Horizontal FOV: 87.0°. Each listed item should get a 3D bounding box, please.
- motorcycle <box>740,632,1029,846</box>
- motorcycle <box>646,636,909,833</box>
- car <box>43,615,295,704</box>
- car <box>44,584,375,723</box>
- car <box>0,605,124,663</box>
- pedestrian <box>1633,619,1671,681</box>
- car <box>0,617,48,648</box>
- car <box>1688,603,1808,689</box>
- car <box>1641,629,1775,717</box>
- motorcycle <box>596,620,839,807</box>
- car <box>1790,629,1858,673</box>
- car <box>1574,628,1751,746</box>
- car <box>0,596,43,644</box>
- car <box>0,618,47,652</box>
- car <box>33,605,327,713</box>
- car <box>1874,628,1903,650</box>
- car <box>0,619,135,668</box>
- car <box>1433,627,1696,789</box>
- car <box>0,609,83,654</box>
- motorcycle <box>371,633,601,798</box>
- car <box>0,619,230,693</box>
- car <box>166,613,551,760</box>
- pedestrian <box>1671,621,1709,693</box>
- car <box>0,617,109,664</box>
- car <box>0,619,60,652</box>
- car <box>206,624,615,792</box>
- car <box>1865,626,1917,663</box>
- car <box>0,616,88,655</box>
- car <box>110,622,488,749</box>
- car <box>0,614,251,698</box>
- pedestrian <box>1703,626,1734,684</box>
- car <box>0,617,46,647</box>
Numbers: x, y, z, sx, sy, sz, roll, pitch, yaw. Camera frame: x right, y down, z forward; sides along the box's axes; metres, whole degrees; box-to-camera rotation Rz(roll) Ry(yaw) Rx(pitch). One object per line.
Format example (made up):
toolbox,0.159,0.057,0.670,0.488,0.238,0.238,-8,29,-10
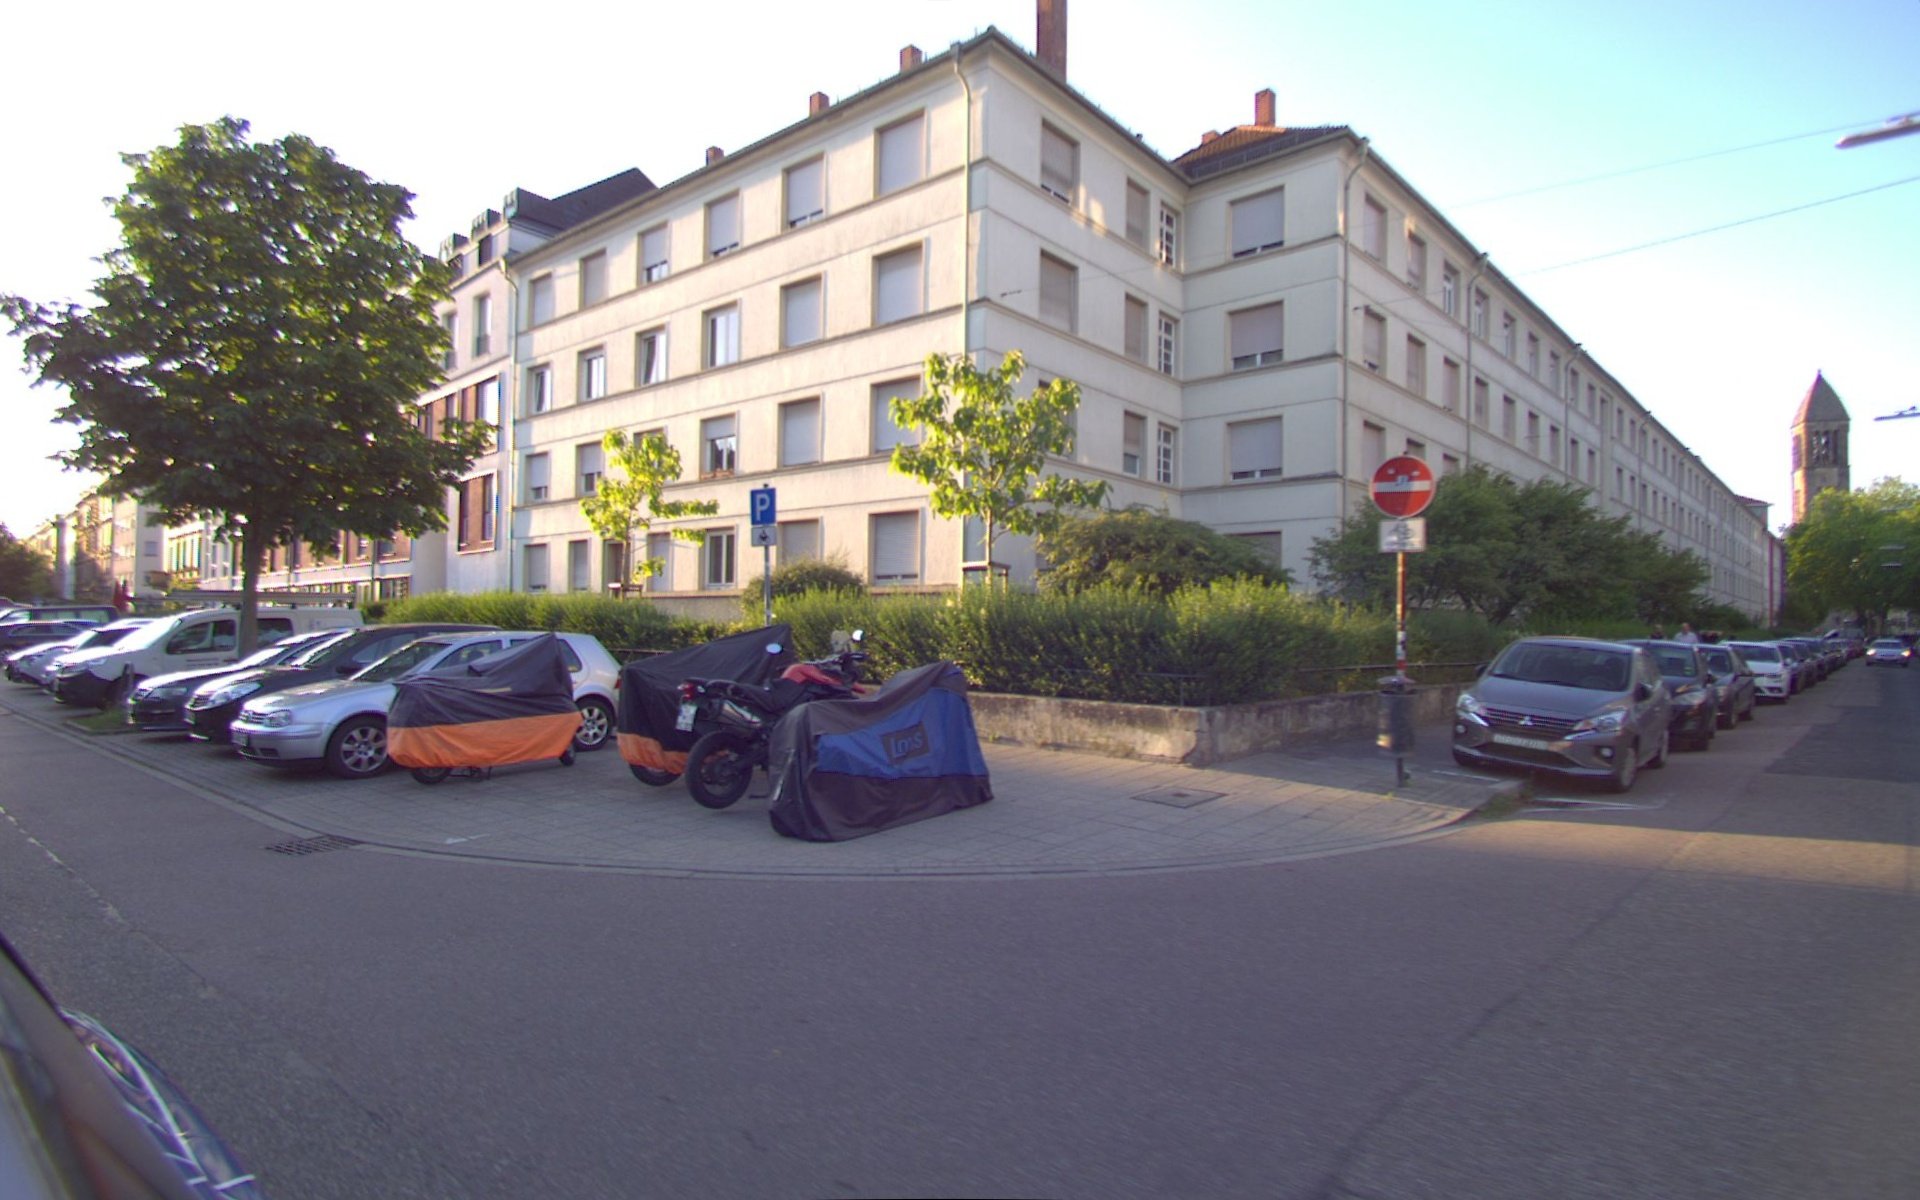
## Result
motorcycle,-0.534,1.004,8.203,0.881,1.447,2.356,-1,-1,44
motorcycle,-1.504,1.059,8.742,0.774,1.447,2.206,-1,-1,44
car,-16.800,1.191,21.656,1.754,1.495,3.947,-1,1,40
car,-13.326,0.845,18.163,2.001,2.086,4.461,-3,0,45
car,-34.114,1.251,37.365,4.798,2.070,2.001,2,-2,-45
pedestrian,18.999,1.365,27.784,0.736,1.649,0.805,-2,-2,42
car,-48.725,1.639,51.096,3.903,1.551,1.756,0,-1,-45
car,19.289,1.057,24.708,2.000,1.913,3.944,-1,-1,42
car,13.999,1.278,18.872,1.641,1.423,3.634,-1,-1,42
motorcycle,-2.267,0.990,9.734,0.774,1.594,2.206,-1,-1,44
car,38.155,2.189,44.665,2.001,1.795,3.942,-1,-1,44
car,10.545,1.185,15.101,1.728,1.503,3.422,-1,-1,42
car,-52.551,1.079,54.627,1.932,2.576,4.352,-1,-1,44
car,-46.876,1.704,49.056,3.842,1.629,1.701,0,-1,-45
car,-15.320,1.064,20.047,1.944,1.815,4.372,-2,0,44
car,87.752,3.656,95.683,2.000,2.029,3.944,-1,-1,42
car,-30.495,1.431,33.940,1.736,1.427,4.099,-1,1,38
car,6.912,1.056,11.415,1.828,1.475,3.724,-1,-1,43
car,-40.987,1.338,43.912,1.895,1.910,4.136,-1,-1,39
motorcycle,-4.662,1.065,10.090,0.720,1.447,1.968,-1,-1,36
car,-20.778,1.287,24.791,1.826,1.462,4.364,-1,1,40
car,-7.598,0.979,13.061,1.729,1.595,3.943,-1,-1,43
pedestrian,19.610,1.512,27.195,0.736,1.890,0.728,-1,-2,42
car,-32.160,1.393,35.092,1.652,1.504,3.845,-1,0,40
car,-45.039,1.642,47.354,1.789,1.505,4.215,-1,-1,44
car,-5.978,1.045,11.290,1.690,1.517,3.672,-1,-1,43
car,50.788,2.401,55.257,2.000,1.900,3.944,-1,-1,42
car,-39.531,1.478,42.526,2.048,1.601,3.953,-1,-2,34
car,-9.437,1.104,14.708,1.851,1.416,4.279,-1,0,43
car,-18.934,1.193,23.112,1.812,1.633,4.198,-2,0,42
pedestrian,25.099,1.818,33.507,0.736,1.890,0.728,-1,-3,42
car,-50.502,1.665,52.640,1.706,1.536,4.289,-1,-1,43
